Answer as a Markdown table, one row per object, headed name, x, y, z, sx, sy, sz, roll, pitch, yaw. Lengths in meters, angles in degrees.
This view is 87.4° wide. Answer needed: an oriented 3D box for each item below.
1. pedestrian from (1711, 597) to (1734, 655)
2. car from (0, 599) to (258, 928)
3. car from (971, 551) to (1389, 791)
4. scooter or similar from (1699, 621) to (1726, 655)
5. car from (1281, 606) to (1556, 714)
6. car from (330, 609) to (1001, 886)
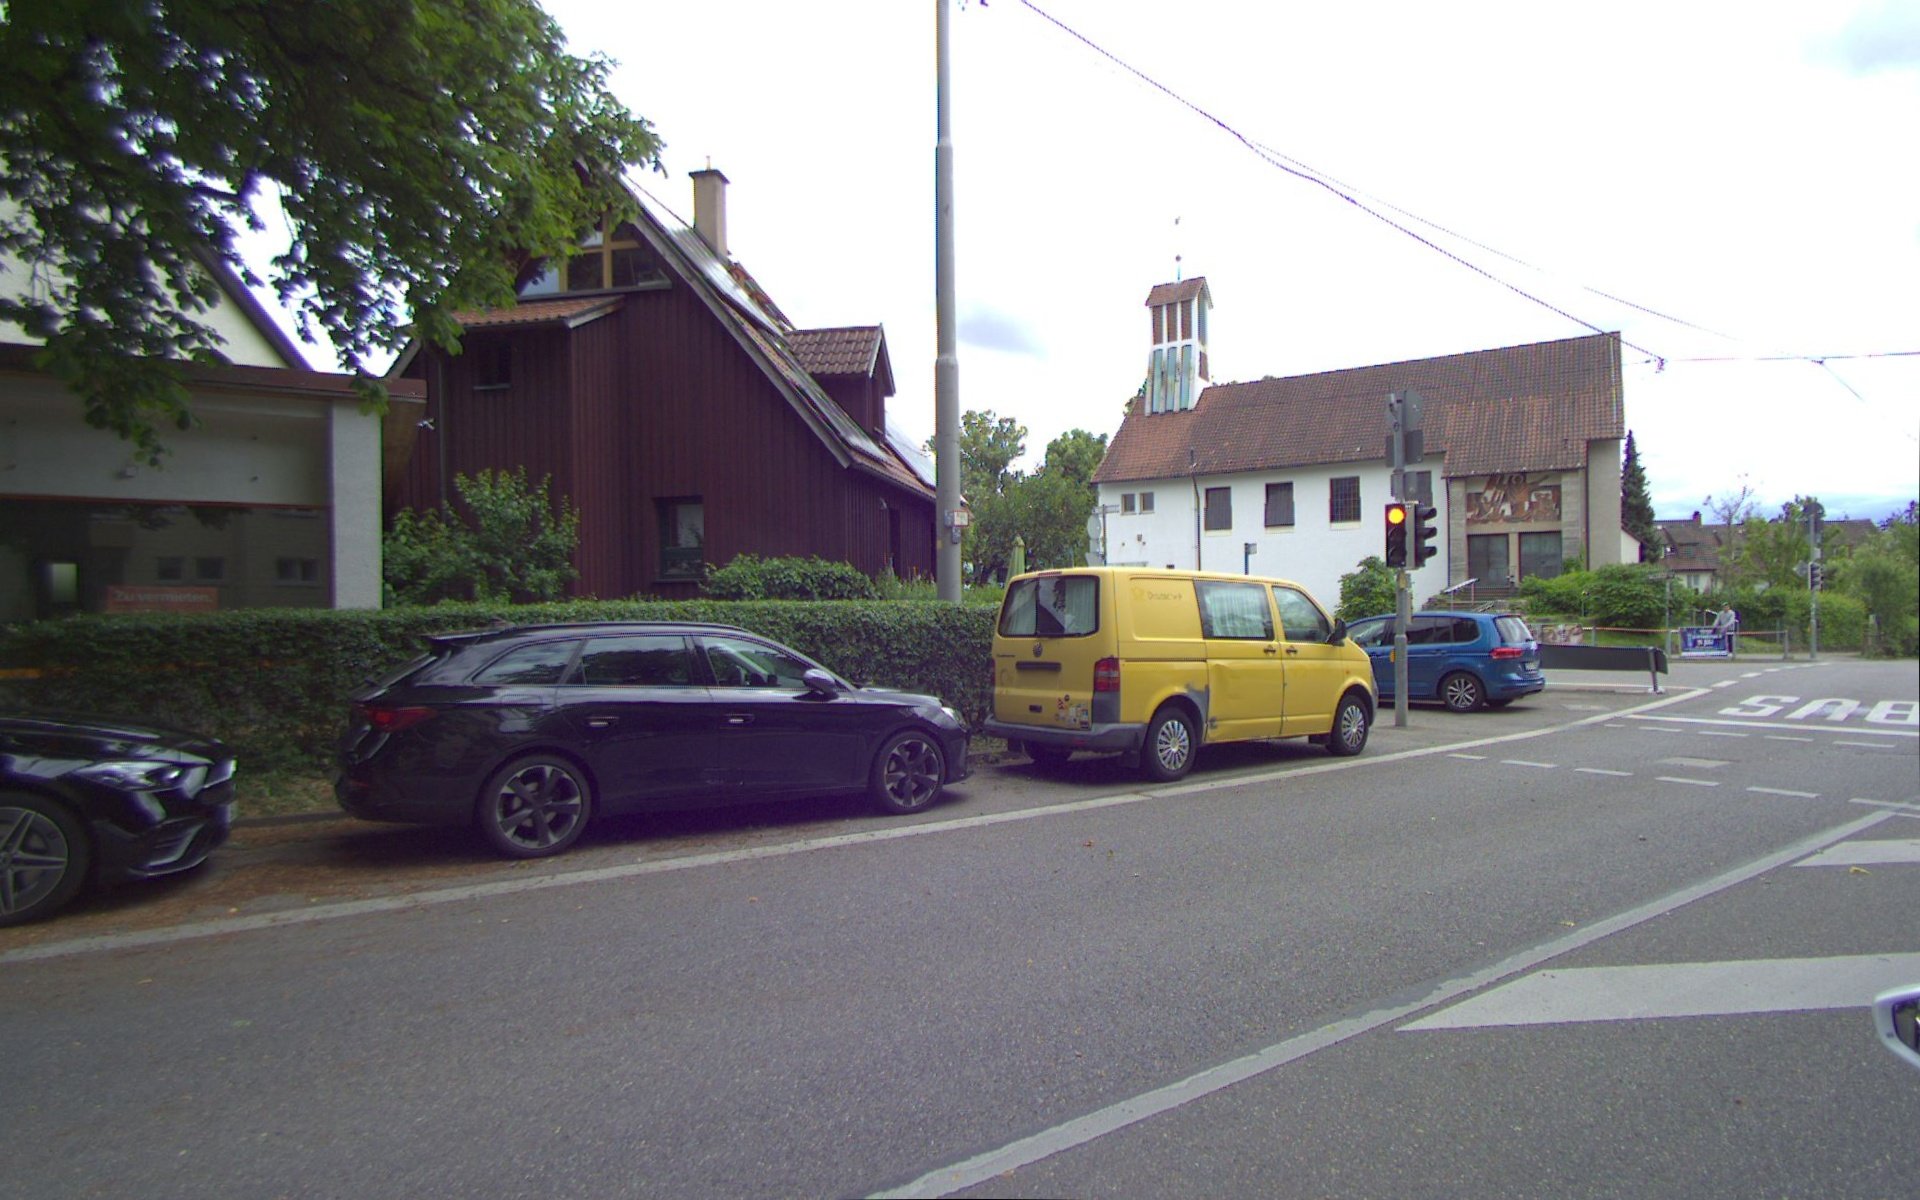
| name | x | y | z | sx | sy | sz | roll | pitch | yaw |
| --- | --- | --- | --- | --- | --- | --- | --- | --- | --- |
| pedestrian | 25.087 | 0.856 | 33.055 | 0.565 | 1.887 | 0.884 | -1 | -1 | 35 |
| car | -6.214 | 0.767 | 4.751 | 4.561 | 1.520 | 1.984 | 1 | -2 | -31 |
| car | 2.460 | 0.651 | 10.679 | 4.523 | 2.040 | 1.870 | 1 | -2 | -37 |
| scooter or similar | 24.334 | 1.224 | 32.486 | 0.570 | 1.095 | 1.104 | -1 | -2 | 44 |
| car | 7.813 | 0.994 | 17.361 | 1.806 | 1.632 | 3.948 | 1 | -3 | -44 |
| car | -1.997 | 0.849 | 7.436 | 4.494 | 1.505 | 1.681 | 1 | -2 | -34 |
